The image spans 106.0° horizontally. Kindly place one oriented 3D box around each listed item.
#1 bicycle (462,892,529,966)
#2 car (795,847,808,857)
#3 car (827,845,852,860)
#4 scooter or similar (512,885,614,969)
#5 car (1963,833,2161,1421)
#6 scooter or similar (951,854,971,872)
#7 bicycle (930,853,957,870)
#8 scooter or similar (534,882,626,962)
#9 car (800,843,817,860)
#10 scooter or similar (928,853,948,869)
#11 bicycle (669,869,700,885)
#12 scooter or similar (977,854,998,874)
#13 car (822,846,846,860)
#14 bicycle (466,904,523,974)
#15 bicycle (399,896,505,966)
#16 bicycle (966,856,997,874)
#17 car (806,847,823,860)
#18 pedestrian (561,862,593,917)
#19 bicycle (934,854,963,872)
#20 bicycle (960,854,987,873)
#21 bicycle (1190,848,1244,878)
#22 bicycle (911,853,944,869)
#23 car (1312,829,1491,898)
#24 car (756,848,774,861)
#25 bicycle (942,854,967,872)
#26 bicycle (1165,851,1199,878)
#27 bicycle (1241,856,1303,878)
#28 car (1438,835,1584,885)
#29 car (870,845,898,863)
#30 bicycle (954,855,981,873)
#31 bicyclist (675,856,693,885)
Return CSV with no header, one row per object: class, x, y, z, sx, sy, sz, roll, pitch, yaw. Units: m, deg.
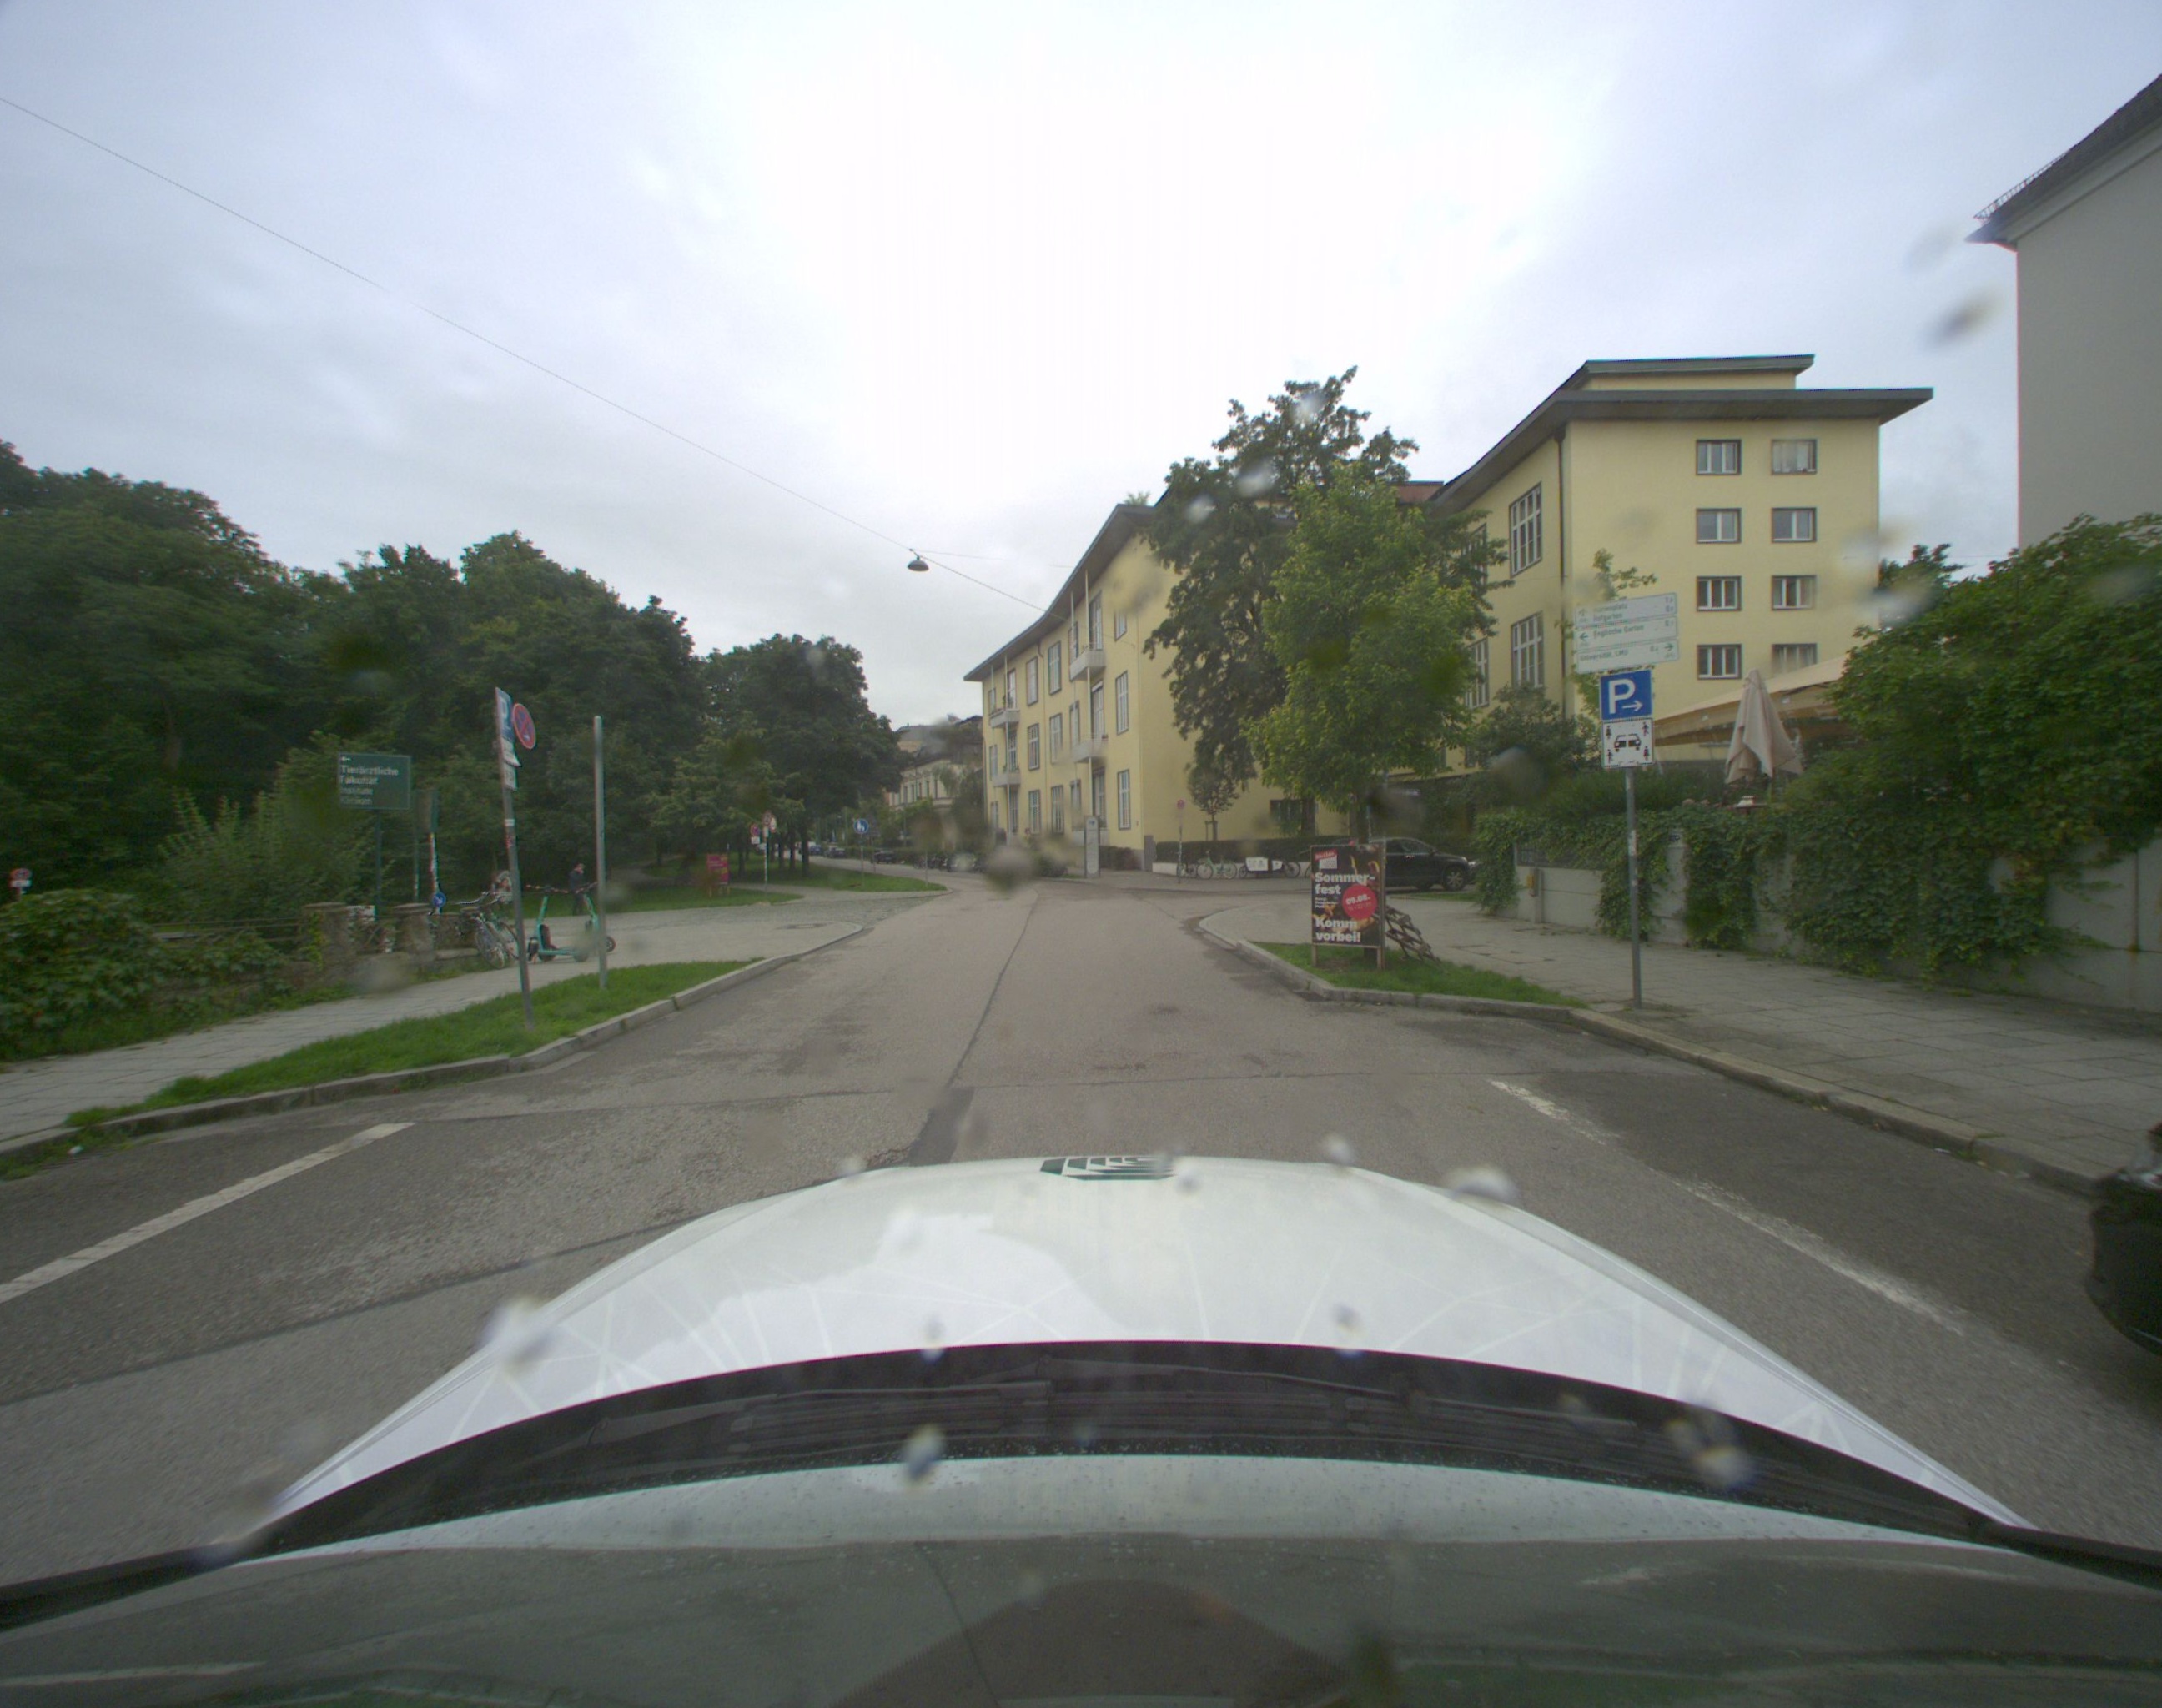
bicycle,-10.103,1.255,14.036,1.483,1.134,0.658,-1,1,44
car,-46.717,-0.293,136.192,1.652,1.652,4.249,-2,1,-24
car,-29.272,-0.168,98.767,2.187,1.657,4.468,-2,1,-26
scooter or similar,-8.281,1.156,13.049,1.173,1.219,0.603,-4,0,2
car,3.733,0.758,0.630,1.700,1.518,3.955,3,0,-3
scooter or similar,-7.870,0.608,53.552,0.490,1.088,1.418,-2,1,28
bicycle,-9.509,0.486,56.423,0.755,1.085,2.154,-2,1,25
scooter or similar,-8.493,1.126,13.831,0.441,1.219,1.189,-4,0,37
car,-42.044,-0.418,125.736,1.885,2.568,4.891,-2,1,-25
scooter or similar,-10.609,0.539,60.502,1.404,1.088,0.595,-2,1,-7
bicycle,-20.777,1.215,42.711,1.354,0.776,0.439,-1,0,-6
scooter or similar,-5.613,0.588,49.101,0.490,1.109,1.418,-2,1,28
car,-31.664,-0.132,104.269,2.187,1.657,4.468,-2,1,-26
bicycle,-9.023,1.286,12.563,0.472,0.923,1.195,-2,1,-25
bicycle,-11.555,1.412,14.951,1.718,1.134,0.657,-5,-1,20
bicycle,-6.159,0.672,50.403,1.833,1.005,0.572,-3,1,-27
car,-38.358,-0.097,117.151,1.885,1.815,3.967,-2,1,-25
pedestrian,-16.885,1.178,27.279,0.732,1.752,0.655,-2,1,-21
bicycle,-8.861,0.572,54.641,0.689,1.085,2.352,-2,1,25
bicycle,-6.932,0.601,52.615,0.570,1.085,1.946,-2,1,32
bicycle,5.341,0.350,32.141,0.613,1.117,2.191,-2,1,-41
bicycle,-11.752,0.556,62.199,2.346,1.085,0.686,-3,1,-30
car,9.187,0.244,23.588,4.355,1.694,2.000,-3,1,-3
car,-44.515,0.079,114.648,2.003,1.837,3.967,-2,1,-25
bicycle,-8.368,0.565,53.903,0.631,1.085,1.997,-2,1,25
bicycle,4.248,0.426,34.399,0.609,1.072,2.205,-3,1,-16
bicycle,7.200,0.494,30.739,2.191,0.779,0.613,-1,1,20
car,14.227,0.191,27.082,3.962,1.435,1.606,-2,0,1
car,-18.376,-0.014,75.816,1.871,1.633,4.251,-2,1,-22
bicycle,-7.411,0.625,53.186,0.570,1.085,1.946,-2,1,32
bicyclist,-20.808,0.871,42.688,0.627,1.460,0.644,-1,0,-5
